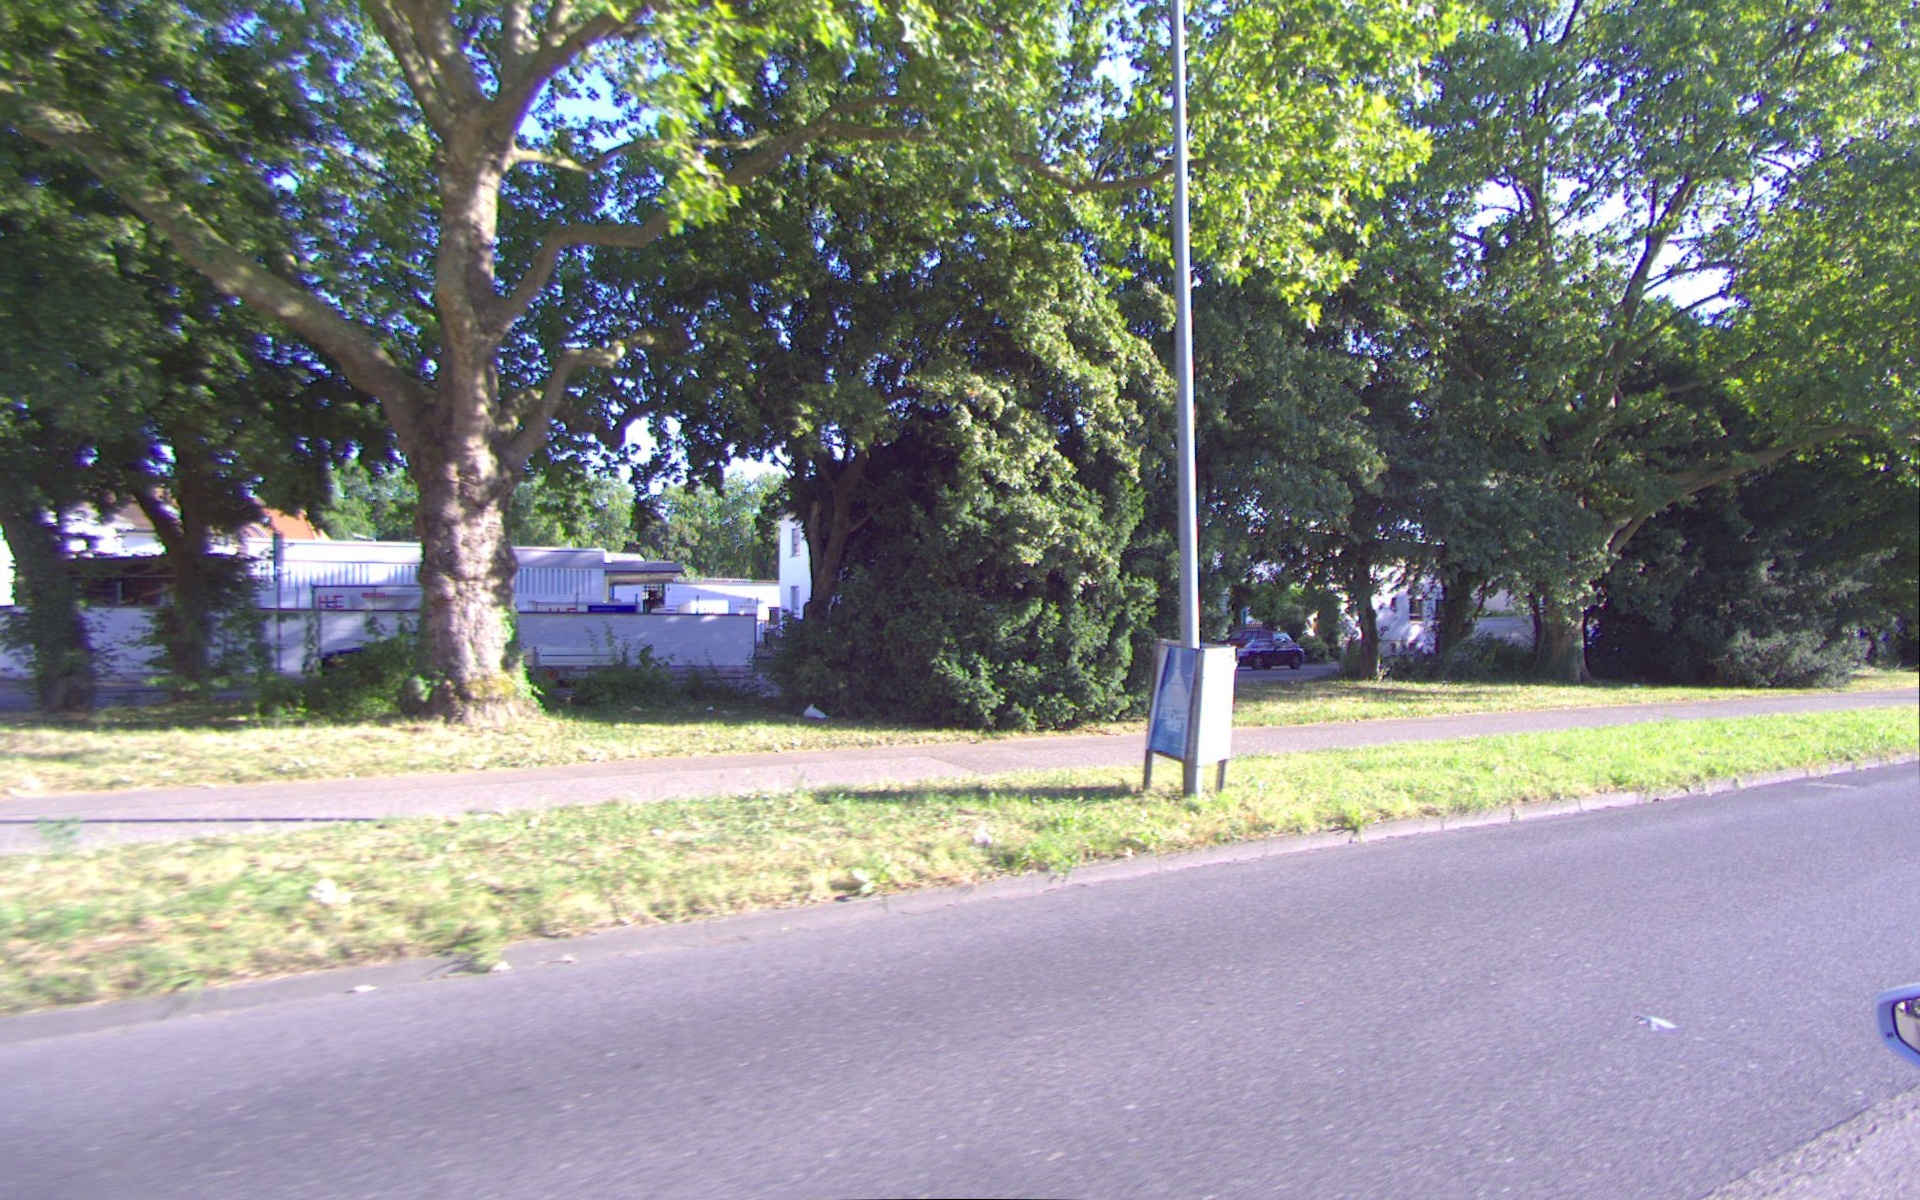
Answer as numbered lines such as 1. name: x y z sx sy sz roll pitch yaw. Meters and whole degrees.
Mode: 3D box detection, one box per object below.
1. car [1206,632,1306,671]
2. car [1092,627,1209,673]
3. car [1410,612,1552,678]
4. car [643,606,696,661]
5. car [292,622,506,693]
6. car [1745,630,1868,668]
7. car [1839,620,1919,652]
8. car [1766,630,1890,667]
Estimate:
1. car: 11.725 2.011 39.721 3.721 1.460 1.769 1 -3 -31
2. car: 6.994 1.821 36.768 4.023 1.575 1.817 1 -3 -31
3. car: 17.994 1.494 34.838 1.891 2.072 3.957 -1 0 -38
4. car: -12.578 1.430 43.693 1.966 2.279 3.990 1 -1 -13
5. car: -13.375 1.325 24.133 4.308 1.582 1.849 1 -1 -31
6. car: 36.267 2.064 43.105 1.795 1.520 3.704 1 -2 -34
7. car: 46.768 1.797 50.181 1.895 1.528 3.958 1 0 -36
8. car: 40.330 2.213 46.736 1.936 1.617 4.093 1 -2 -38
